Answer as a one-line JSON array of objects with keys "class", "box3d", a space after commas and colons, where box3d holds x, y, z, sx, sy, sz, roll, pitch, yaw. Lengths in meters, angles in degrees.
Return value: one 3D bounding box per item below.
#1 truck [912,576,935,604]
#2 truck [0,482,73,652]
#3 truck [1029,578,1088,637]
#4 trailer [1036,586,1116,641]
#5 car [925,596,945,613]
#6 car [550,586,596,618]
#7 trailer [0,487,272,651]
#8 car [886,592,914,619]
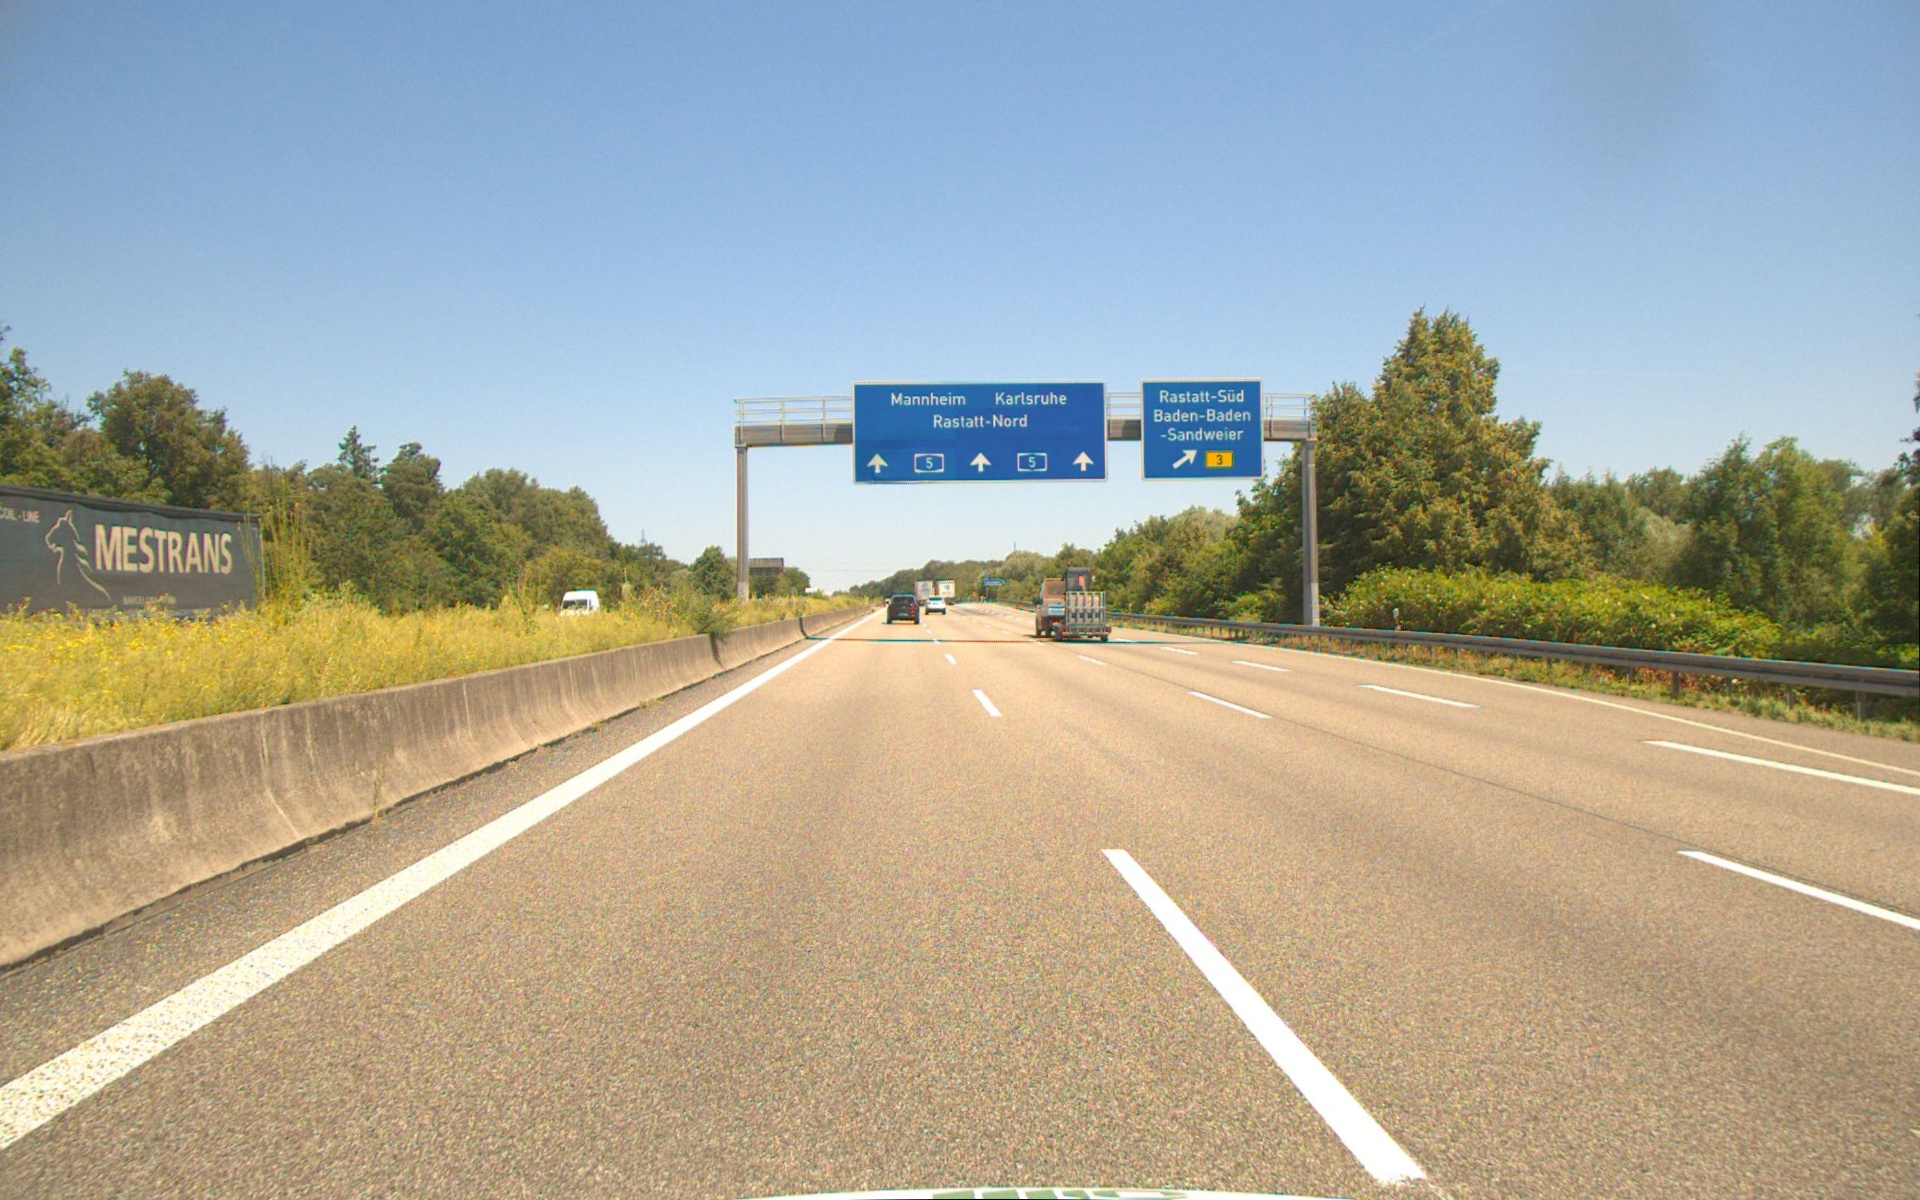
[{"class": "truck", "box3d": [-5.624, -1.544, 252.677, 3.243, 4.064, 8.398, 1, -1, -3]}, {"class": "truck", "box3d": [-19.034, -0.626, 30.234, 2.589, 3.138, 5.845, 1, 0, -2]}, {"class": "truck", "box3d": [4.153, 0.301, 70.189, 1.954, 2.415, 4.641, 0, 0, -4]}, {"class": "trailer", "box3d": [4.483, 0.506, 64.838, 2.373, 2.049, 6.029, 0, 0, -4]}, {"class": "car", "box3d": [-2.277, 0.422, 148.872, 1.705, 1.512, 3.998, 0, 0, -3]}, {"class": "car", "box3d": [-25.818, 0.142, 110.482, 1.953, 2.049, 5.185, 0, 0, -1]}, {"class": "trailer", "box3d": [-19.291, -0.618, 37.765, 2.549, 3.156, 11.948, 1, 0, -2]}, {"class": "car", "box3d": [-3.662, 0.318, 100.242, 1.627, 1.576, 3.780, 0, 0, -4]}]
